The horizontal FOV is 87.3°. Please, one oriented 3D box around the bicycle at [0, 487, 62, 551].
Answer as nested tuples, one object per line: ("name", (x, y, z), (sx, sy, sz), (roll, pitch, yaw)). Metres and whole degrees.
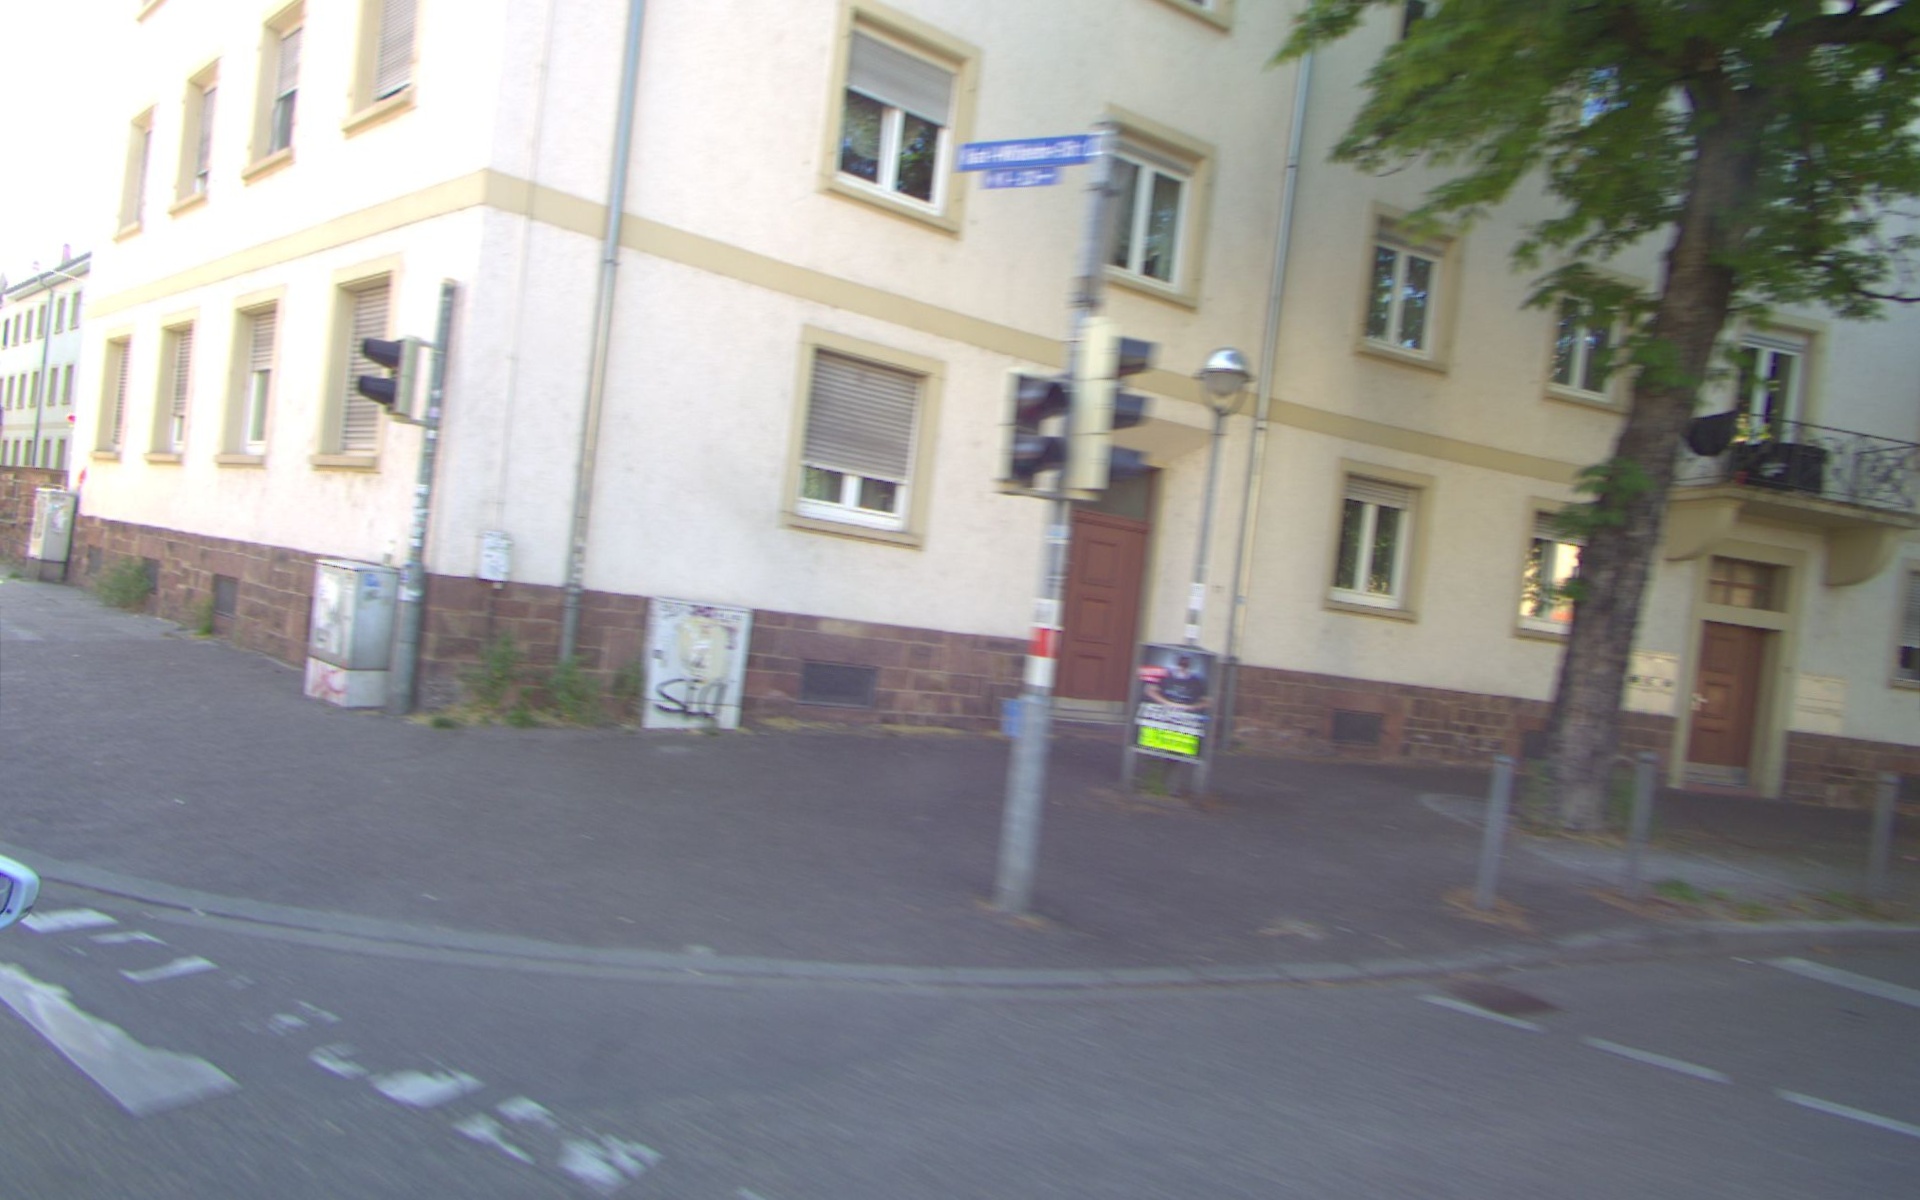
("bicycle", (-18.742, -1.637, 20.252), (1.645, 1.105, 0.459), (7, 0, 32))
